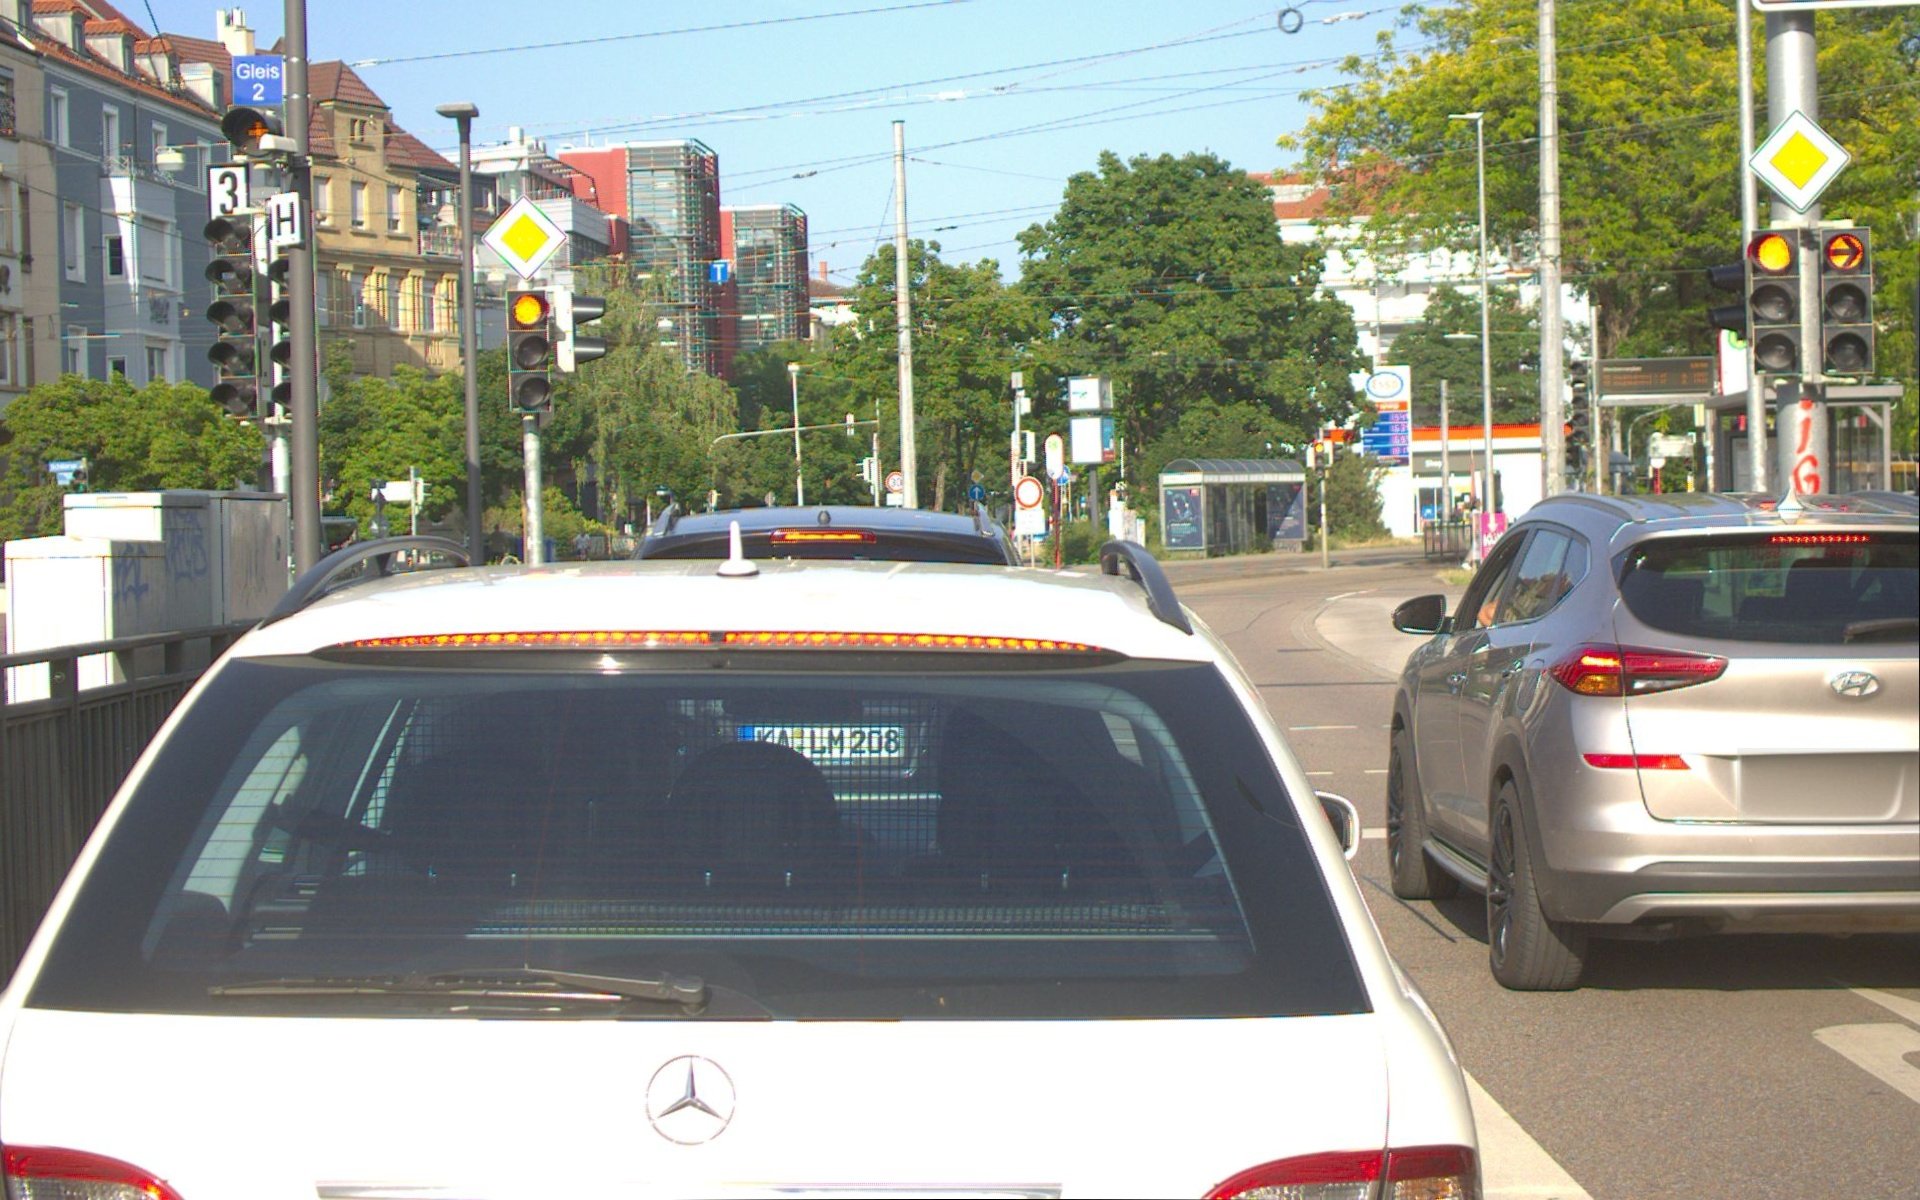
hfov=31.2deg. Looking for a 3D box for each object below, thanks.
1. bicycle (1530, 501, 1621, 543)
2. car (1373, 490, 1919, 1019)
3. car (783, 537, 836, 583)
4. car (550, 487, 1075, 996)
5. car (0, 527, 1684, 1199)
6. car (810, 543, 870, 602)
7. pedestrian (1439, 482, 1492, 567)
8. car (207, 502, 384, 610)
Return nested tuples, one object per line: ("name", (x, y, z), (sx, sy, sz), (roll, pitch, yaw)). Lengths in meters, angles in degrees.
("bicycle", (14.850, -1.881, 82.911), (2.019, 0.943, 0.878), (-1, 1, 19))
("car", (2.642, 0.425, 12.254), (1.835, 1.594, 3.815), (0, 1, -1))
("car", (-5.514, -1.475, 126.480), (1.676, 1.520, 4.125), (-2, 2, 0))
("car", (-0.483, 0.401, 12.672), (1.641, 1.594, 3.815), (0, 1, -1))
("car", (-0.271, 0.644, 5.091), (1.835, 1.496, 3.815), (0, 1, -1))
("car", (-4.905, -1.154, 140.933), (2.177, 2.231, 5.253), (-2, 2, 0))
("pedestrian", (12.093, -1.812, 82.183), (0.997, 2.007, 0.827), (-1, 1, 27))
("car", (-13.158, -0.901, 68.418), (2.145, 2.007, 5.387), (-2, 1, 3))
